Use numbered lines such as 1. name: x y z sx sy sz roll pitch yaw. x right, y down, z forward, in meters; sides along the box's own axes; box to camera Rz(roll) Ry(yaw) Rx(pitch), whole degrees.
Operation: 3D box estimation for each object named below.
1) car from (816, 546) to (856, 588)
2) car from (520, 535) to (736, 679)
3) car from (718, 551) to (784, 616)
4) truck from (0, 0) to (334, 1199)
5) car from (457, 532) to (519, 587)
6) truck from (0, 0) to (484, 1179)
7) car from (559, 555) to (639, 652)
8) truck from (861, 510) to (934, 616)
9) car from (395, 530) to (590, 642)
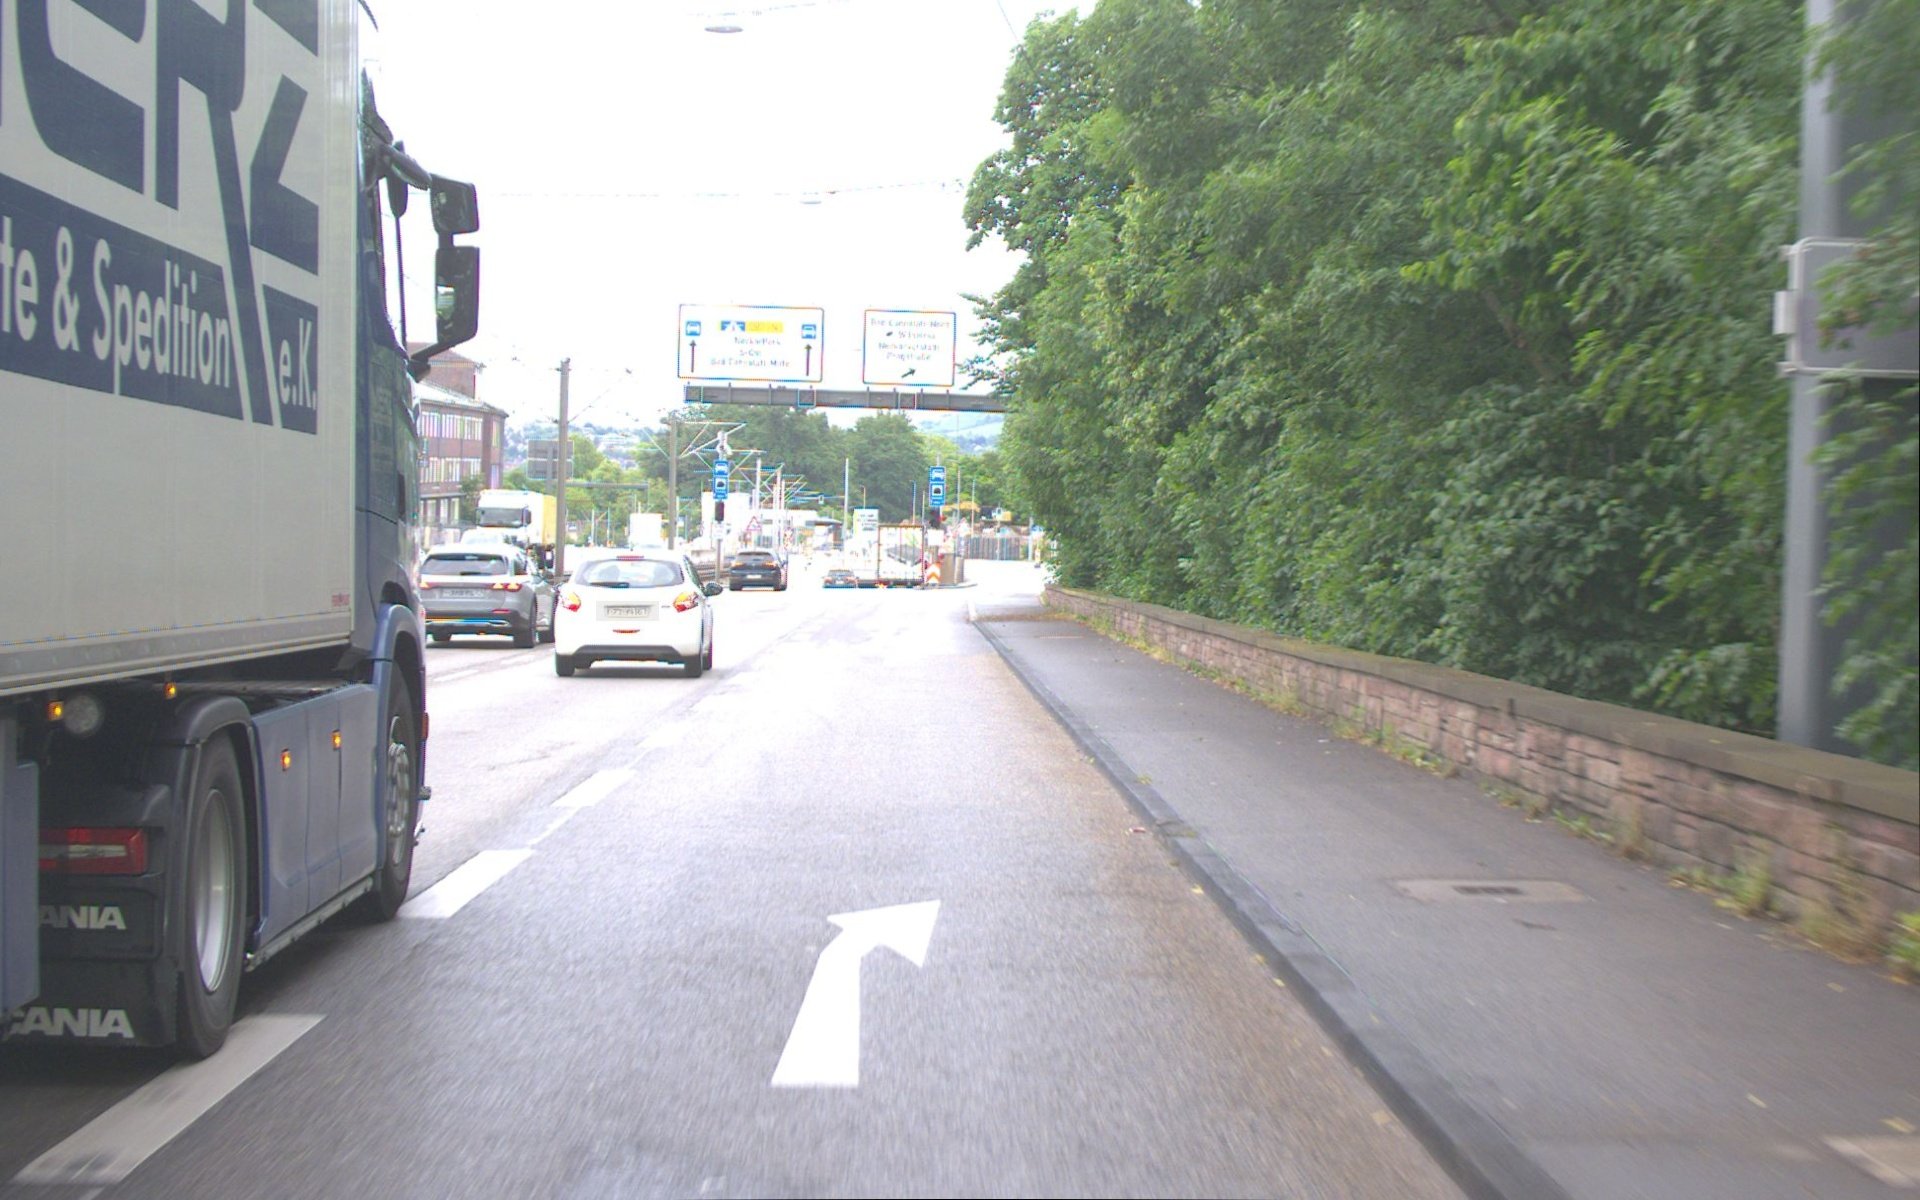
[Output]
1. car: -6.727 -1.771 186.463 1.993 2.007 4.000 2 -2 -1
2. car: -3.859 0.037 40.594 1.955 1.483 4.000 2 2 3
3. car: -7.186 -0.556 118.462 1.993 2.007 4.000 2 -2 -1
4. truck: -3.249 -0.626 4.617 2.762 4.182 13.032 0 1 -2
5. car: -19.485 -1.650 141.925 1.993 2.007 4.000 2 -2 -1
6. truck: -3.425 -0.762 11.690 2.762 4.182 6.785 0 1 -1
7. car: -8.121 0.053 77.199 1.721 1.884 3.537 0 4 -6
8. truck: -3.542 -2.042 197.449 3.465 5.383 12.050 2 -2 2
9. car: -6.867 -0.239 50.920 1.821 1.560 4.091 -1 1 7
